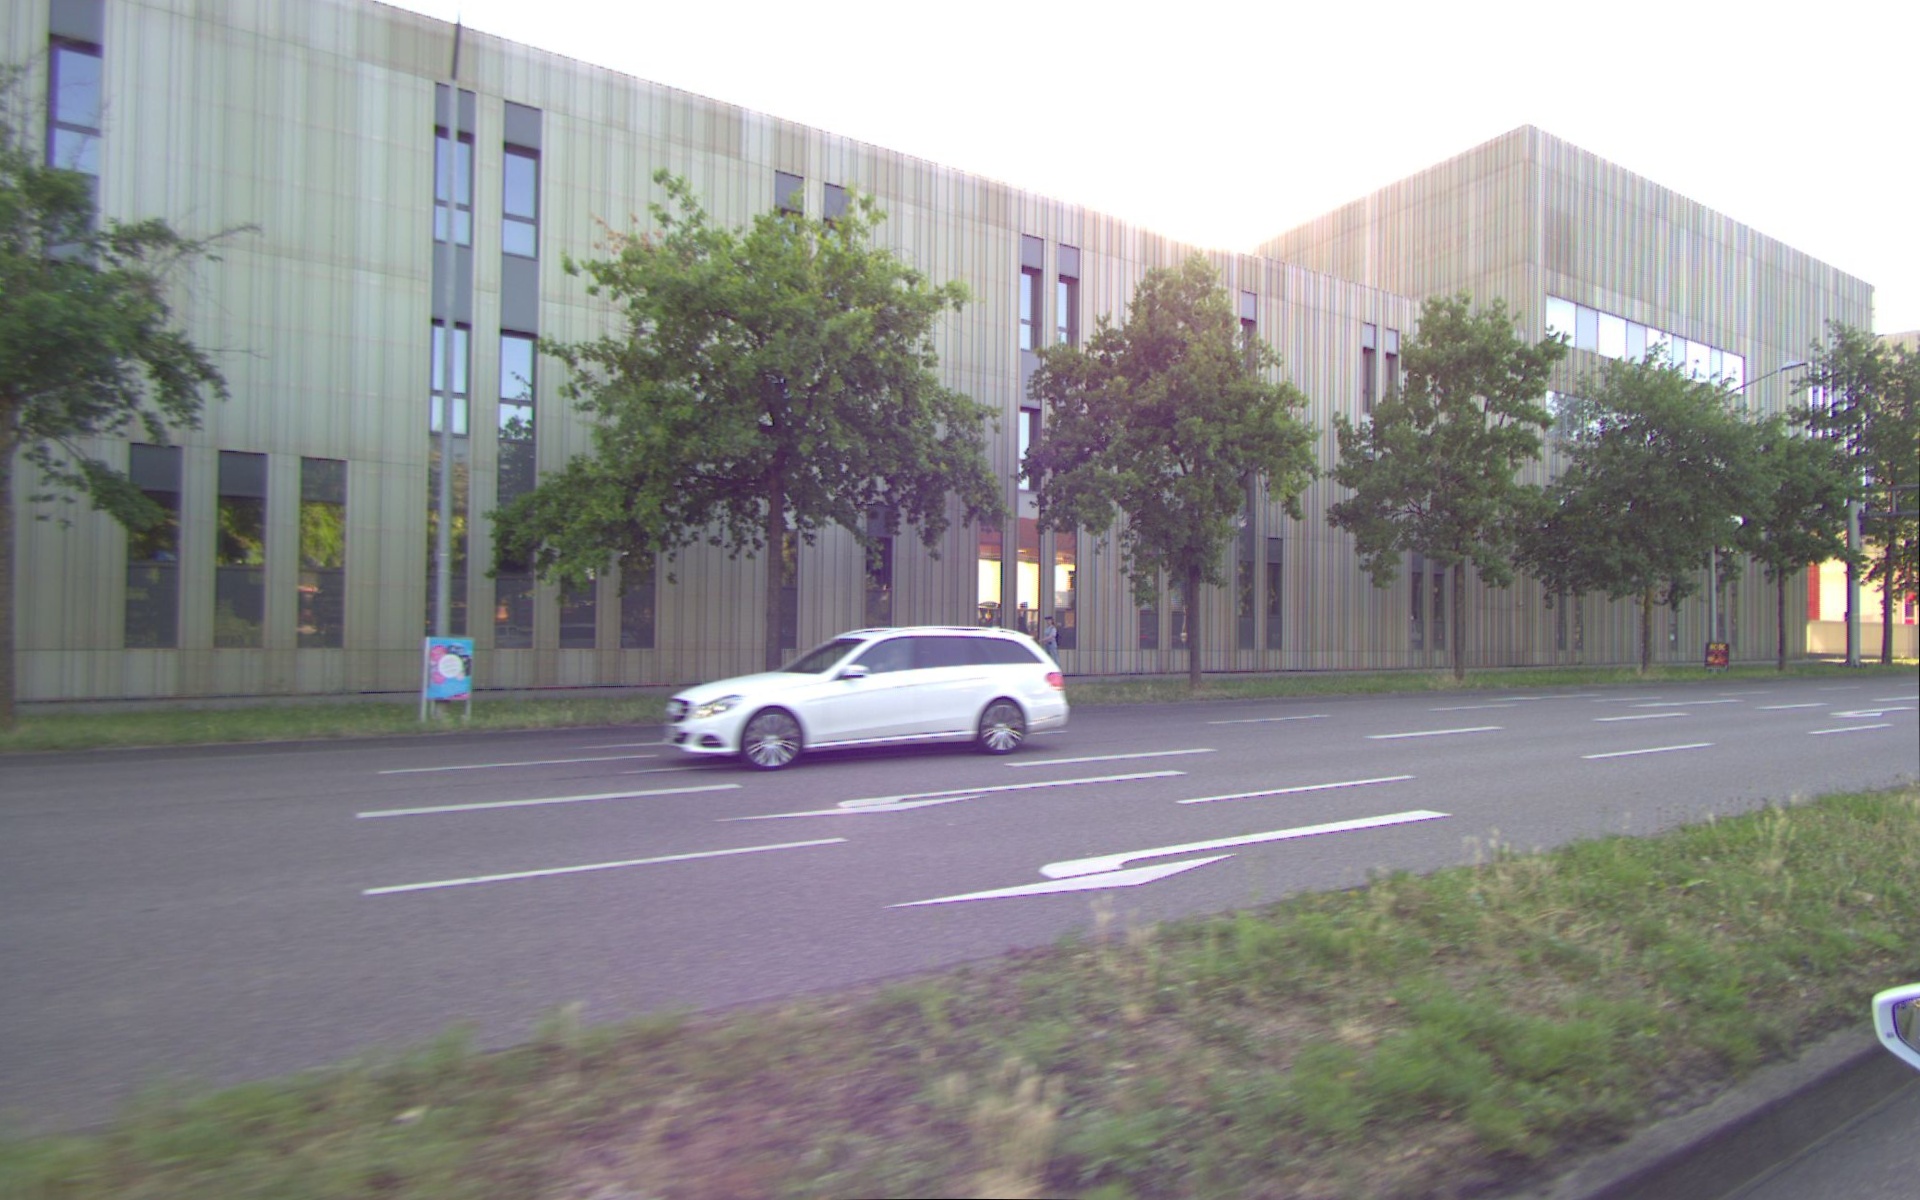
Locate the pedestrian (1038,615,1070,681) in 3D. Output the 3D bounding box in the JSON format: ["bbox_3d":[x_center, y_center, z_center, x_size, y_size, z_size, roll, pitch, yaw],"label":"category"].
[{"bbox_3d":[2.589,1.302,27.661,0.641,1.790,0.600,1,-1,-29],"label":"pedestrian"}]

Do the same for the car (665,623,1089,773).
[{"bbox_3d":[-0.912,1.071,12.044,4.758,1.492,1.837,1,-3,-30],"label":"car"}]
